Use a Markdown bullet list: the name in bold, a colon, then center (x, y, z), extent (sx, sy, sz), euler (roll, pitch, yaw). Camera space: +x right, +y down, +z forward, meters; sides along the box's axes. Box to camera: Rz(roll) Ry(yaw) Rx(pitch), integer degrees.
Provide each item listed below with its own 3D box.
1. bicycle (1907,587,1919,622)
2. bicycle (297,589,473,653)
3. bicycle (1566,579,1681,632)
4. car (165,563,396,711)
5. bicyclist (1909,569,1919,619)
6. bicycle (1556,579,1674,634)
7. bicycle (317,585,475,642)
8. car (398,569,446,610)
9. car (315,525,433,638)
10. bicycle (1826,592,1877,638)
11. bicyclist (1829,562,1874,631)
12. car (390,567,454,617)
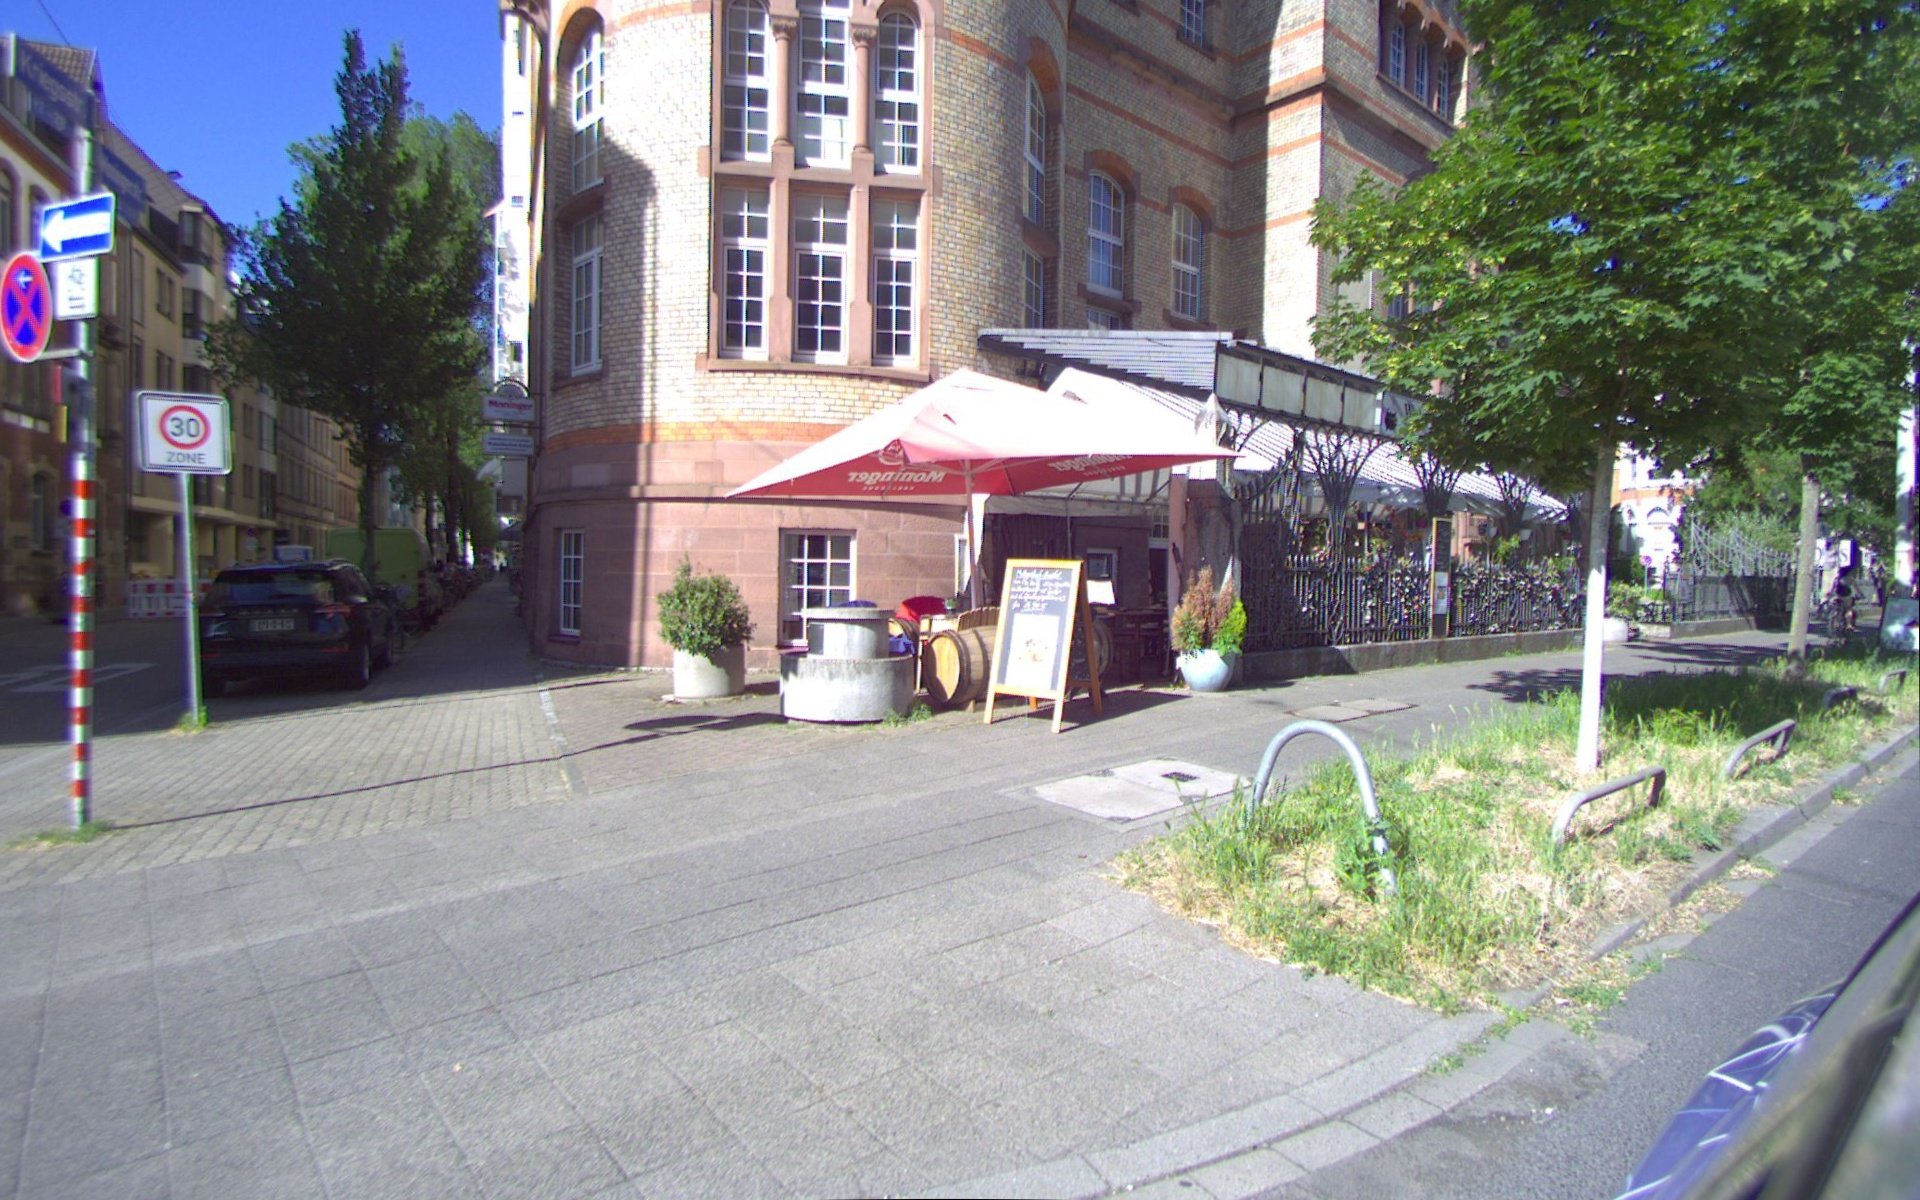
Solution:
- **bicycle**: center (33.626, 0.173, 35.254), extent (1.810, 1.190, 0.654), euler (0, 4, -40)
- **bicycle**: center (-10.438, 0.354, 18.531), extent (2.714, 1.040, 1.061), euler (-2, 0, -26)
- **bicycle**: center (15.729, 0.112, 24.051), extent (2.196, 1.193, 0.676), euler (1, 2, 44)
- **car**: center (-8.562, 0.334, 13.126), extent (1.758, 1.541, 3.965), euler (-3, 3, -24)
- **bicyclist**: center (33.643, -0.192, 35.237), extent (0.873, 1.715, 0.647), euler (1, 4, -40)
- **bicycle**: center (15.081, 0.127, 23.341), extent (2.196, 1.193, 0.676), euler (1, 2, 44)
- **bicycle**: center (-11.321, 0.254, 20.465), extent (2.714, 1.040, 1.061), euler (-2, 0, -26)
- **car**: center (-21.153, -0.379, 39.886), extent (1.620, 1.476, 3.901), euler (0, -1, -27)
- **car**: center (-13.470, -0.414, 23.533), extent (2.093, 2.331, 4.814), euler (0, 1, -27)
- **bicycle**: center (21.491, 0.336, 24.382), extent (2.060, 1.040, 0.686), euler (-1, 2, -42)
- **bicyclist**: center (21.464, -0.095, 24.357), extent (0.939, 1.619, 0.701), euler (-1, 2, -42)
- **car**: center (-17.655, -0.273, 33.298), extent (1.758, 1.542, 3.963), euler (0, 1, -27)
